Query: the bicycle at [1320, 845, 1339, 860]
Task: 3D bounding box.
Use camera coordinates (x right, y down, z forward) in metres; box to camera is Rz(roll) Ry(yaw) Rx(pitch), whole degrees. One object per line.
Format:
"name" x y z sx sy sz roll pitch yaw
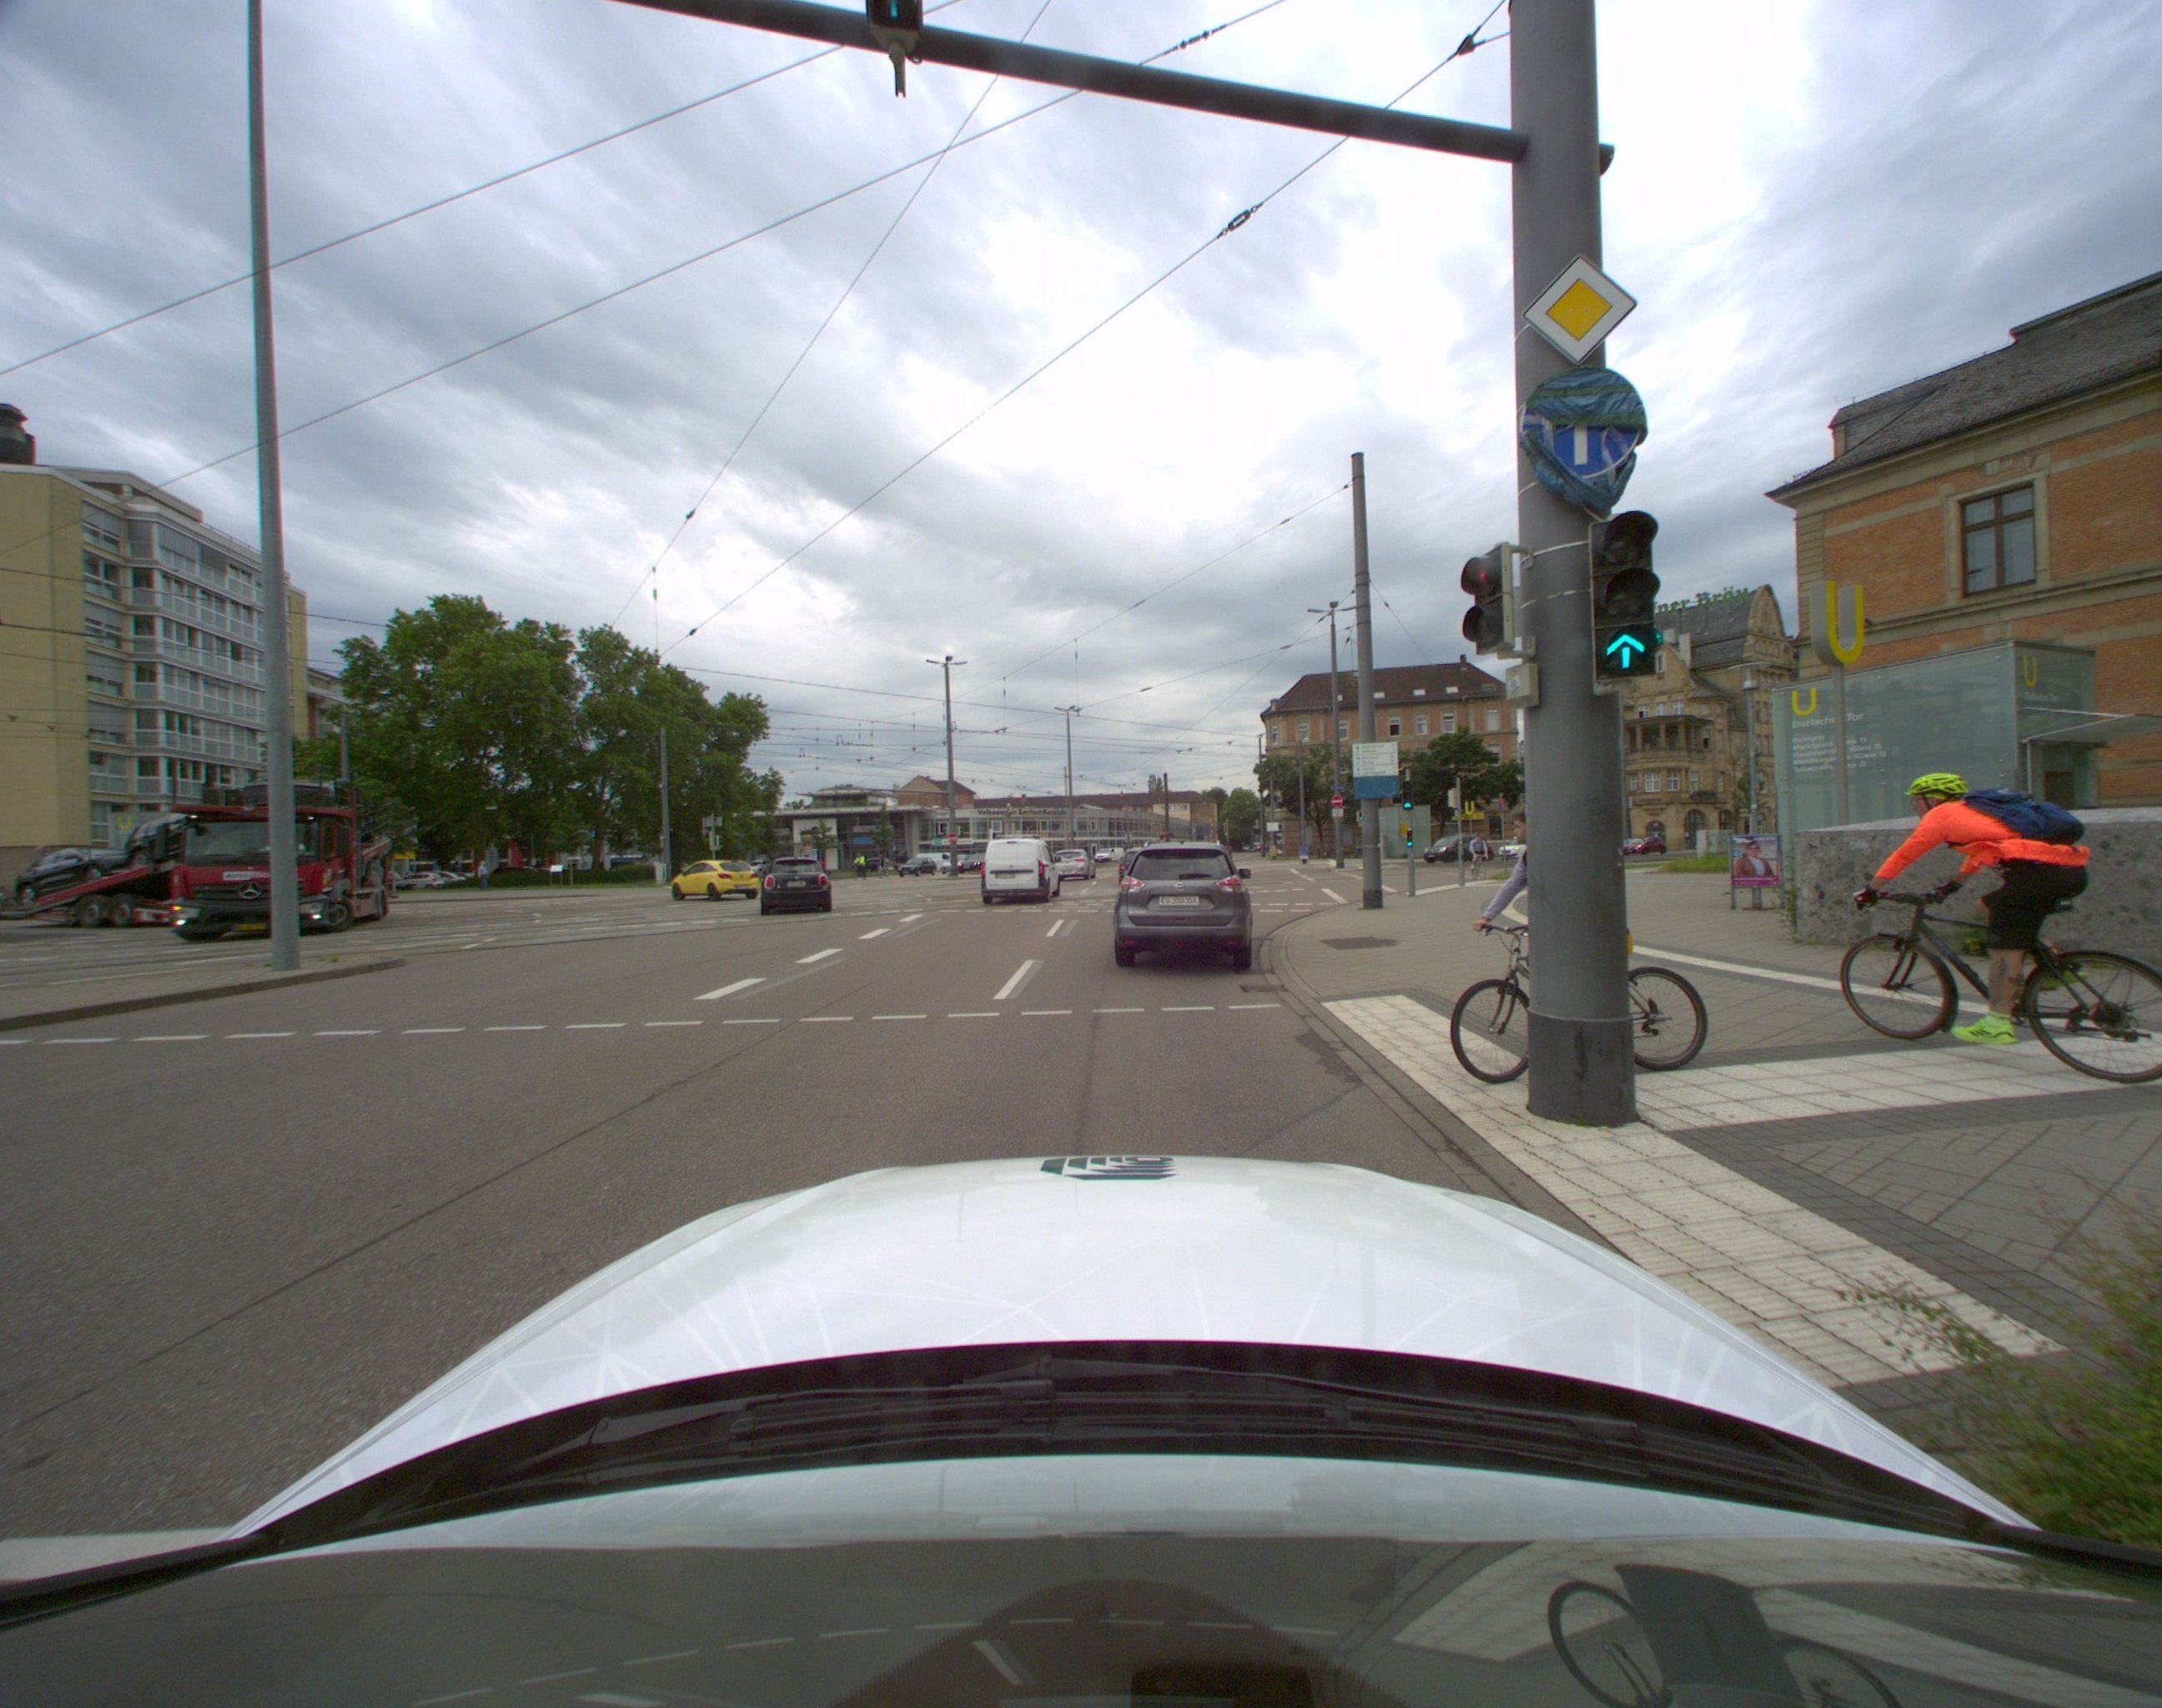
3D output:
"bicycle" 22.950 -0.181 75.180 0.948 1.354 3.140 -1 0 29

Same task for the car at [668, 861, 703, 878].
"car" -47.333 1.822 97.447 1.984 2.013 4.005 -1 0 5

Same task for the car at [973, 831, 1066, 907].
"car" -1.666 0.387 23.483 1.903 1.940 4.138 -2 0 6

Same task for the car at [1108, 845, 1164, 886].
"car" 2.181 0.408 31.687 1.984 1.420 4.005 -2 0 5

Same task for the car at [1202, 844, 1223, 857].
"car" 20.886 -0.557 129.198 1.975 1.839 4.550 -2 0 28

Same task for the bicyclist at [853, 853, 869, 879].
"bicyclist" -15.286 0.847 56.620 0.622 1.803 0.801 -2 0 20

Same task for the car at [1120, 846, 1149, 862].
"car" 6.826 0.005 104.074 1.975 1.839 4.550 -2 0 28

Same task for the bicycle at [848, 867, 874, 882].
"bicycle" -15.298 1.406 56.672 0.514 0.930 2.234 -2 1 20

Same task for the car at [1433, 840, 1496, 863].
"car" 25.923 -0.151 55.017 4.007 1.442 1.680 -1 0 -25

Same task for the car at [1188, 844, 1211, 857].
"car" 17.827 -0.489 122.604 1.975 1.839 4.550 -2 0 28

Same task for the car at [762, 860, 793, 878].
"car" -36.021 1.756 96.771 1.984 2.013 4.005 -1 0 5

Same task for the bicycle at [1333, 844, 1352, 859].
"bicycle" 24.009 -0.192 74.726 0.948 1.354 3.140 -1 0 29

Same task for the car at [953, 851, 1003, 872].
"car" -7.710 0.525 61.541 1.978 1.420 4.682 -2 0 16

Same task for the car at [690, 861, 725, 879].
"car" -44.465 1.868 97.038 1.984 2.013 4.005 -1 0 5

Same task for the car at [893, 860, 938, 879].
"car" -12.015 1.136 59.327 1.674 1.247 3.753 -2 0 16

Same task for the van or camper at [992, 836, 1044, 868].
"van or camper" -5.321 -0.163 69.552 2.396 2.611 6.078 -1 0 16

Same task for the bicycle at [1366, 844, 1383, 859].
"bicycle" 26.662 -0.220 74.030 0.948 1.354 3.140 -1 0 29

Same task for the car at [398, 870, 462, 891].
"car" -57.502 2.306 72.029 4.001 1.706 1.986 -1 0 -21

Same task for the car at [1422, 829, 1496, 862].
"car" 23.420 -0.526 50.414 4.394 1.900 1.680 -1 0 -25

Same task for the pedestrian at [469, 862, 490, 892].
"pedestrian" -34.708 1.327 47.003 0.918 1.719 0.700 0 0 -29

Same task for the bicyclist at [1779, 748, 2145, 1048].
"bicyclist" 5.411 0.238 5.136 0.825 1.621 1.320 -2 0 -3

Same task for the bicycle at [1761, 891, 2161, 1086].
"bicycle" 5.405 0.707 5.050 0.555 0.848 2.071 -2 0 -3

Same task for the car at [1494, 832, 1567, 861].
"car" 32.212 -0.529 58.312 5.108 1.916 1.854 -2 0 -24

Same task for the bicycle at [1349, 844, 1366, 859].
"bicycle" 25.211 -0.205 74.234 0.948 1.354 3.140 -1 0 29

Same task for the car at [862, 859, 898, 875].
"car" -19.737 1.269 79.954 1.622 1.420 3.756 -2 0 19

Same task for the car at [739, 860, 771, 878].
"car" -38.831 1.785 97.169 1.984 2.013 4.005 -1 0 5

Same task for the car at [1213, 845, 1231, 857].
"car" 23.505 -0.557 135.605 1.976 1.839 4.548 -2 0 23

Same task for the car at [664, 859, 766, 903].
"car" -13.663 0.962 30.324 3.948 1.494 1.835 0 0 38

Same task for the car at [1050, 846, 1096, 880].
"car" -0.320 0.427 38.541 1.845 1.508 4.004 -1 0 4

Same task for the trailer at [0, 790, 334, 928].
"trailer" -29.059 0.187 25.723 9.460 3.973 3.006 -1 0 11

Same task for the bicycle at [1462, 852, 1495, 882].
"bicycle" 14.480 0.461 29.636 0.664 0.933 1.871 -5 -1 36

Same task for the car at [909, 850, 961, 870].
"car" -15.011 0.657 83.920 4.729 2.013 2.130 -1 0 16

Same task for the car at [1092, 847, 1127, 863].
"car" 3.419 0.120 97.684 2.137 1.856 5.479 -2 0 25

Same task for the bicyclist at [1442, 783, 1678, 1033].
"bicyclist" 3.160 0.333 5.458 1.095 1.520 0.759 -2 0 -3

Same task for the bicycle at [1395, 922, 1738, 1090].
"bicycle" 3.159 0.966 5.418 1.817 0.840 0.766 -4 0 -4

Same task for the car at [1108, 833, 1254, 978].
"car" 1.530 0.637 11.991 1.739 1.756 3.933 -2 0 9

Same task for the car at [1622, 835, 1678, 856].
"car" 44.418 -0.671 63.576 3.902 1.399 1.853 -2 -2 -26

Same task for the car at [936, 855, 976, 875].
"car" -9.864 0.861 64.563 1.623 1.420 3.753 -2 0 16

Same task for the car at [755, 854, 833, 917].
"car" -7.708 0.779 21.809 1.776 1.468 3.972 -2 0 -21

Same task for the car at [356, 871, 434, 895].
"car" -51.555 2.147 61.269 4.001 1.706 1.986 -1 0 -21

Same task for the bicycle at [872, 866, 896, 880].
"bicycle" -14.381 1.383 59.372 0.514 0.926 2.234 -2 1 20

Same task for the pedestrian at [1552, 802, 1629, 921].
"pedestrian" 8.472 0.125 13.594 0.877 1.867 1.294 -2 0 24

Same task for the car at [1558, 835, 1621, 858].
"car" 38.125 -0.591 61.050 4.308 1.534 1.854 -2 -2 -24

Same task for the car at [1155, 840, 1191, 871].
"car" 6.447 0.096 56.509 1.980 2.013 4.014 -1 0 13

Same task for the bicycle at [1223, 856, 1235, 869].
"bicycle" 9.835 0.546 54.261 0.616 0.793 1.594 -2 0 5

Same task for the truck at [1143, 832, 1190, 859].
"truck" 11.909 -1.148 113.095 2.767 3.549 9.282 -1 0 31

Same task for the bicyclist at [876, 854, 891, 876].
"bicyclist" -14.394 0.809 59.370 0.561 1.508 0.861 -2 1 20

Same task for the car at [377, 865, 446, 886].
"car" -55.578 1.767 67.703 4.001 1.706 1.986 -1 0 -21

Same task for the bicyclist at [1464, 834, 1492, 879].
"bicyclist" 14.445 0.075 29.621 0.684 1.560 0.932 -4 0 35

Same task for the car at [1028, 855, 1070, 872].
"car" -2.893 0.871 75.761 1.976 1.420 4.828 -2 0 23

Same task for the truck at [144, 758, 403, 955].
"truck" -20.355 0.068 21.339 3.027 3.920 10.344 0 0 -35

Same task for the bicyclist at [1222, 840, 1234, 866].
"bicyclist" 9.765 -0.070 54.200 0.684 1.708 0.799 -2 0 4
